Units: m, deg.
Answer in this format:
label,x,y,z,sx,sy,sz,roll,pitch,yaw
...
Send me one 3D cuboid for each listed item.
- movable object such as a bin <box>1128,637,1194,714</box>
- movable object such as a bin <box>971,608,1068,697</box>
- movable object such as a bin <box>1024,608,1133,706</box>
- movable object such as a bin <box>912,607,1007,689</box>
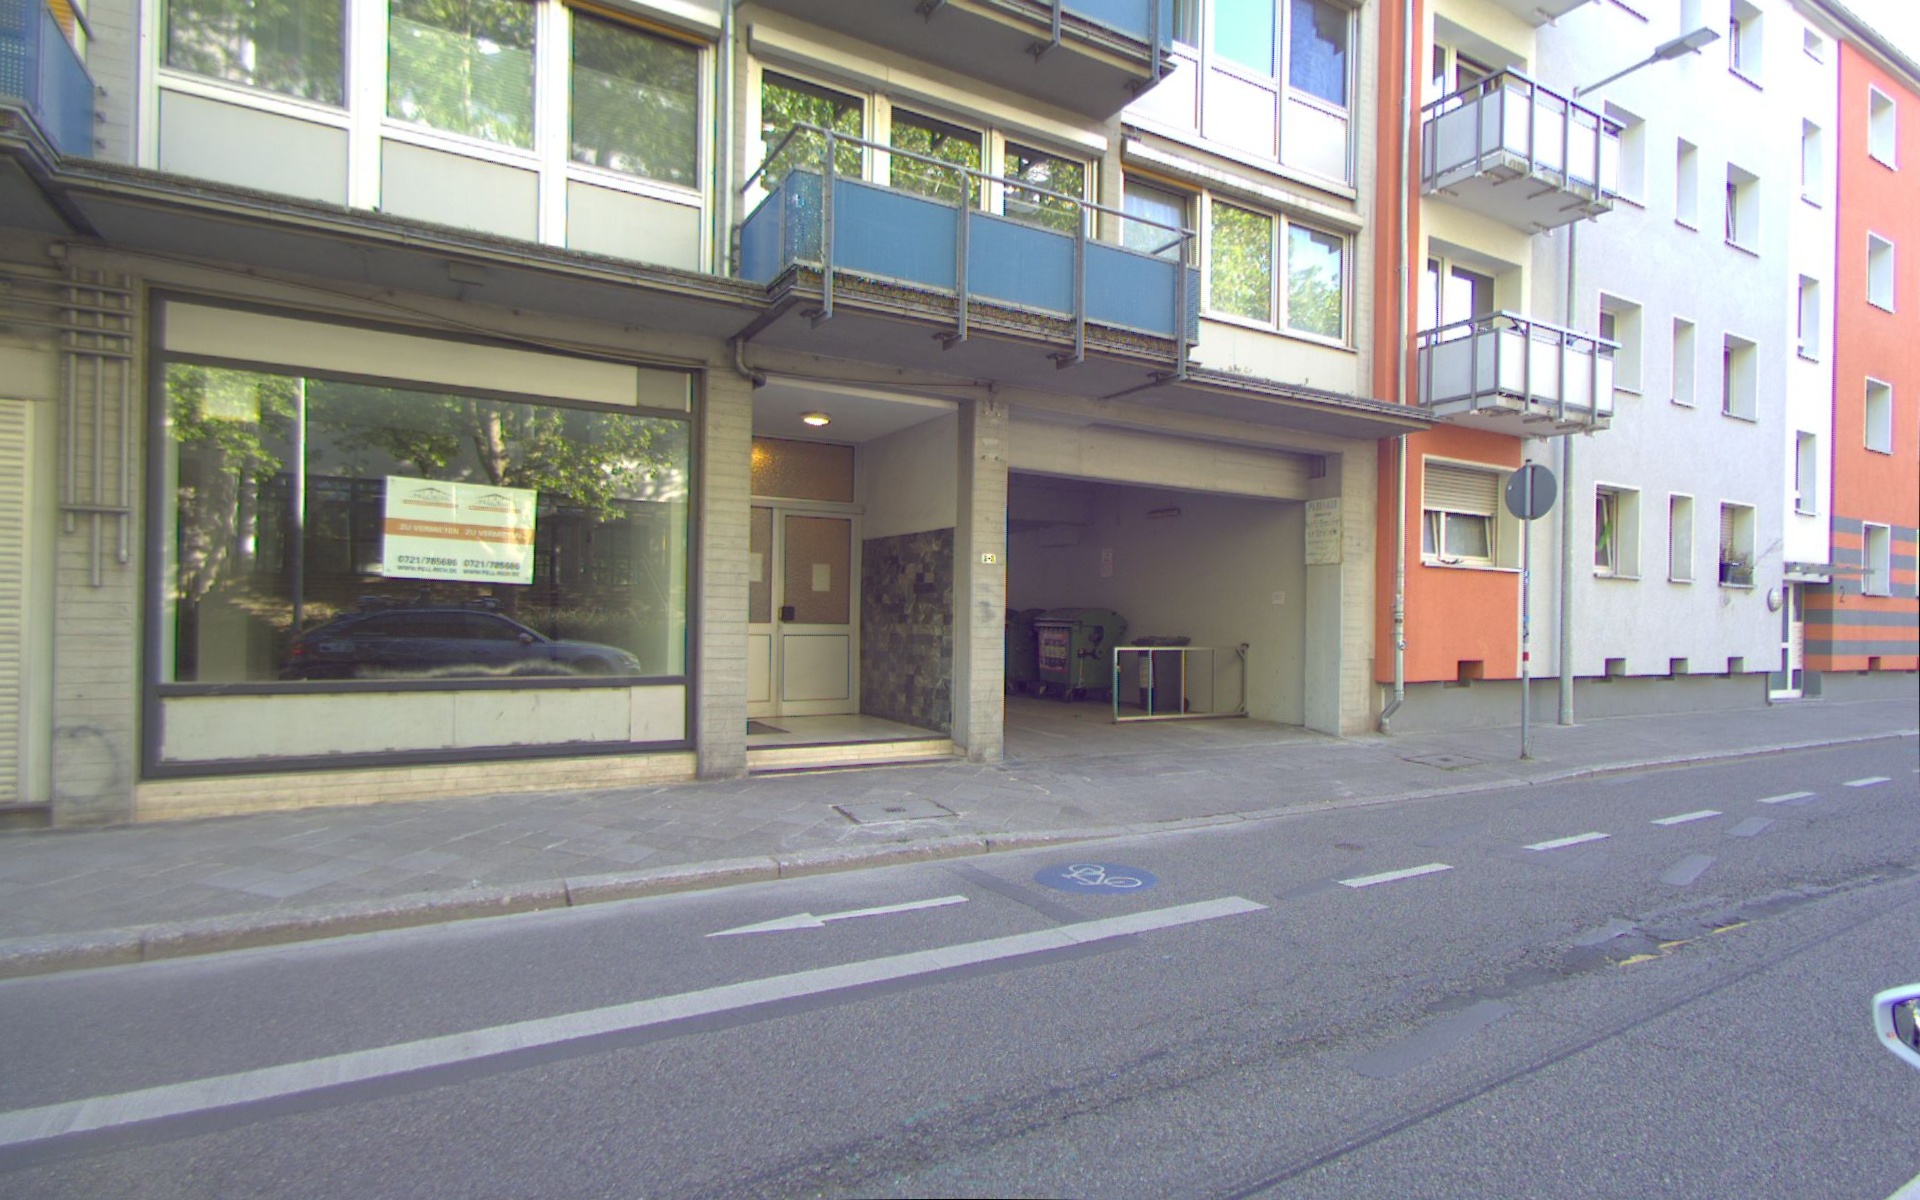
label,x,y,z,sx,sy,sz,roll,pitch,yaw
movable object such as a bin,2.902,1.077,14.540,0.695,1.055,0.593,2,0,-30
movable object such as a bin,1.001,0.870,17.181,1.119,1.449,1.322,1,0,-28
movable object such as a bin,1.852,0.864,15.858,1.128,1.449,1.342,1,0,-28
movable object such as a bin,-0.027,0.867,18.884,1.119,1.449,1.666,1,0,-28
